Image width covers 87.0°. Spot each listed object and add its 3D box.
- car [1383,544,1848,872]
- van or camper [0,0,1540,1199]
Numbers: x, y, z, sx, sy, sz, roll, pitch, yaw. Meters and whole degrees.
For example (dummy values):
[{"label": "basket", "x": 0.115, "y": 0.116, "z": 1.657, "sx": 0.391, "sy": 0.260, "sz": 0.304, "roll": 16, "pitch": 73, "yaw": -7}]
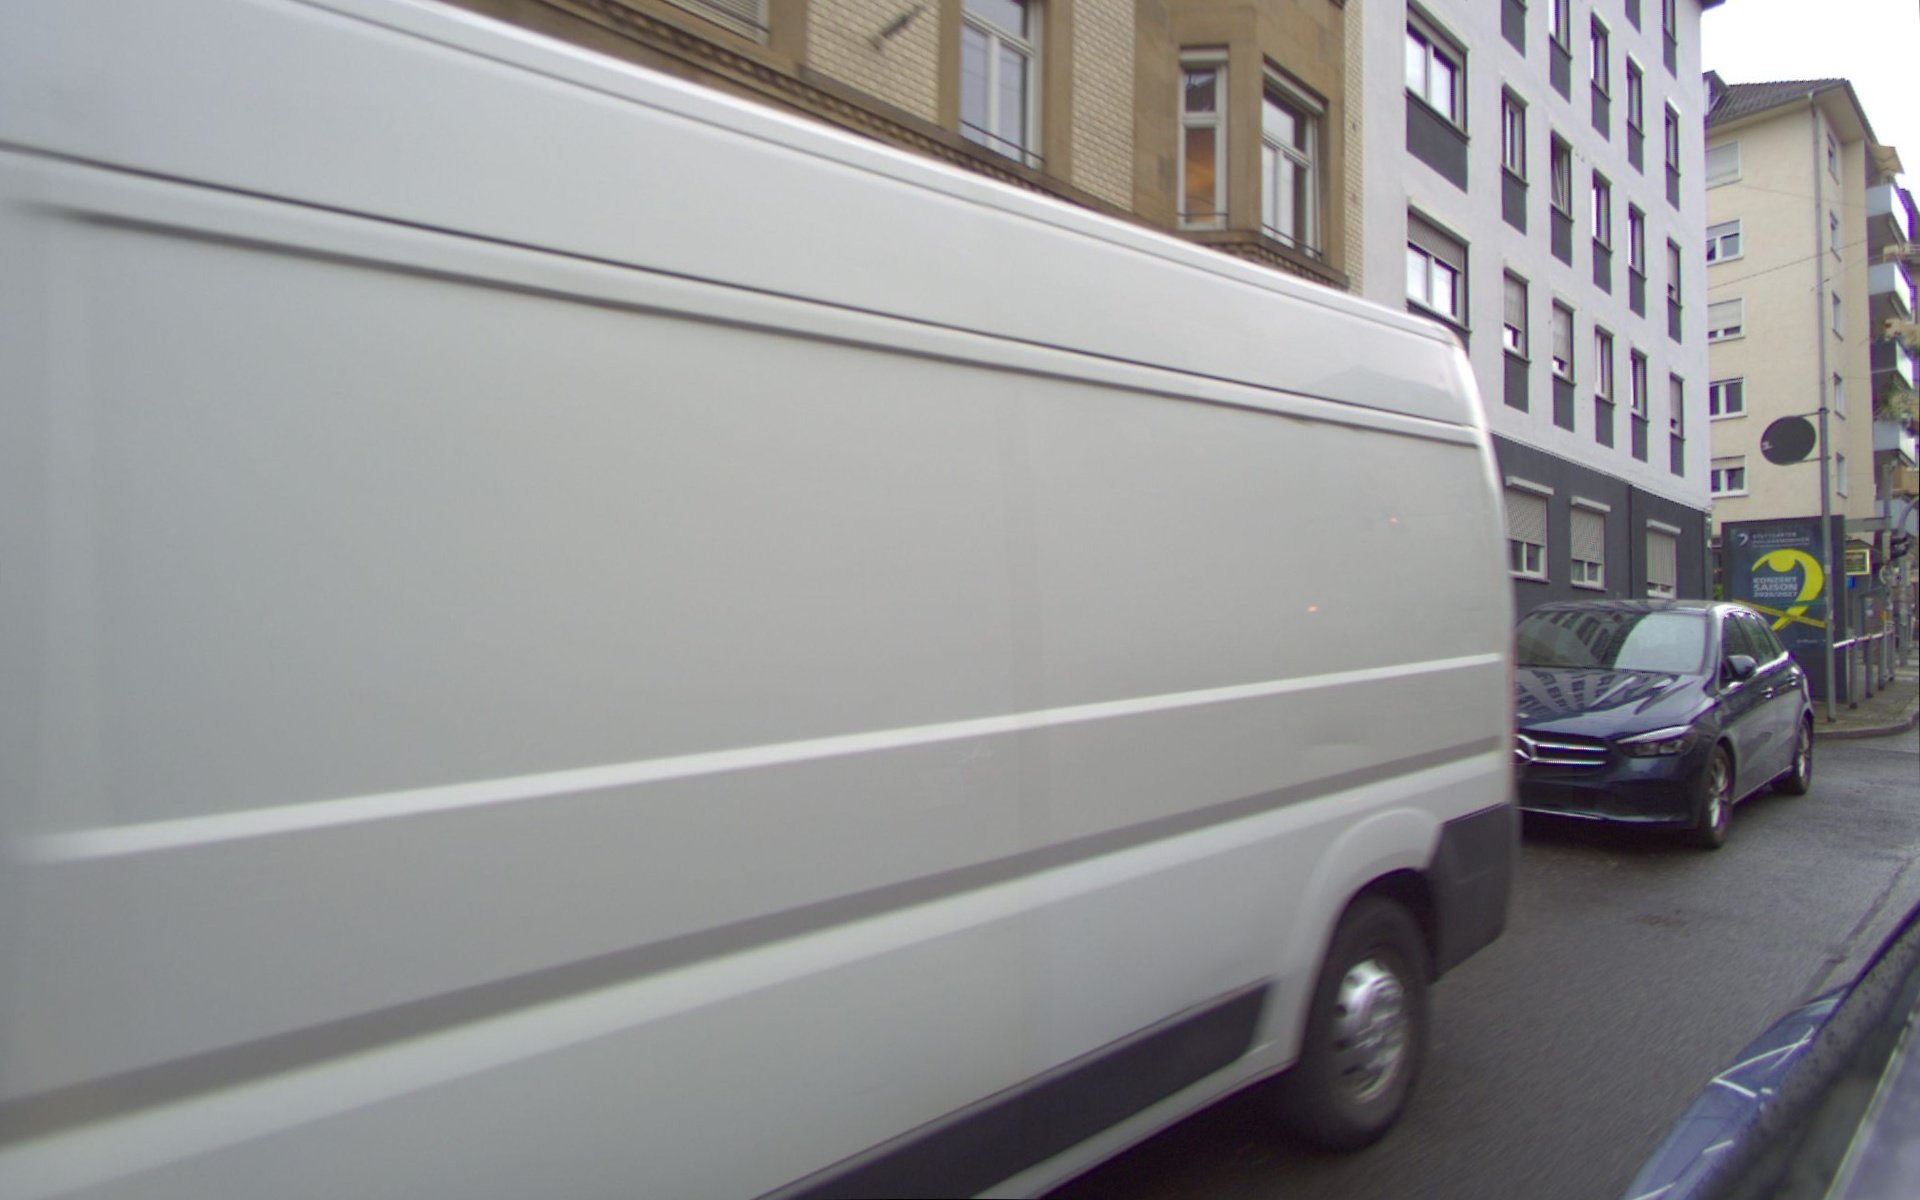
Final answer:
[{"label": "car", "x": 5.196, "y": 0.624, "z": 7.766, "sx": 4.403, "sy": 1.831, "sz": 1.771, "roll": 0, "pitch": -2, "yaw": -40}, {"label": "van or camper", "x": -0.939, "y": 0.282, "z": 2.389, "sx": 6.010, "sy": 2.500, "sz": 2.068, "roll": 0, "pitch": 0, "yaw": -40}]
